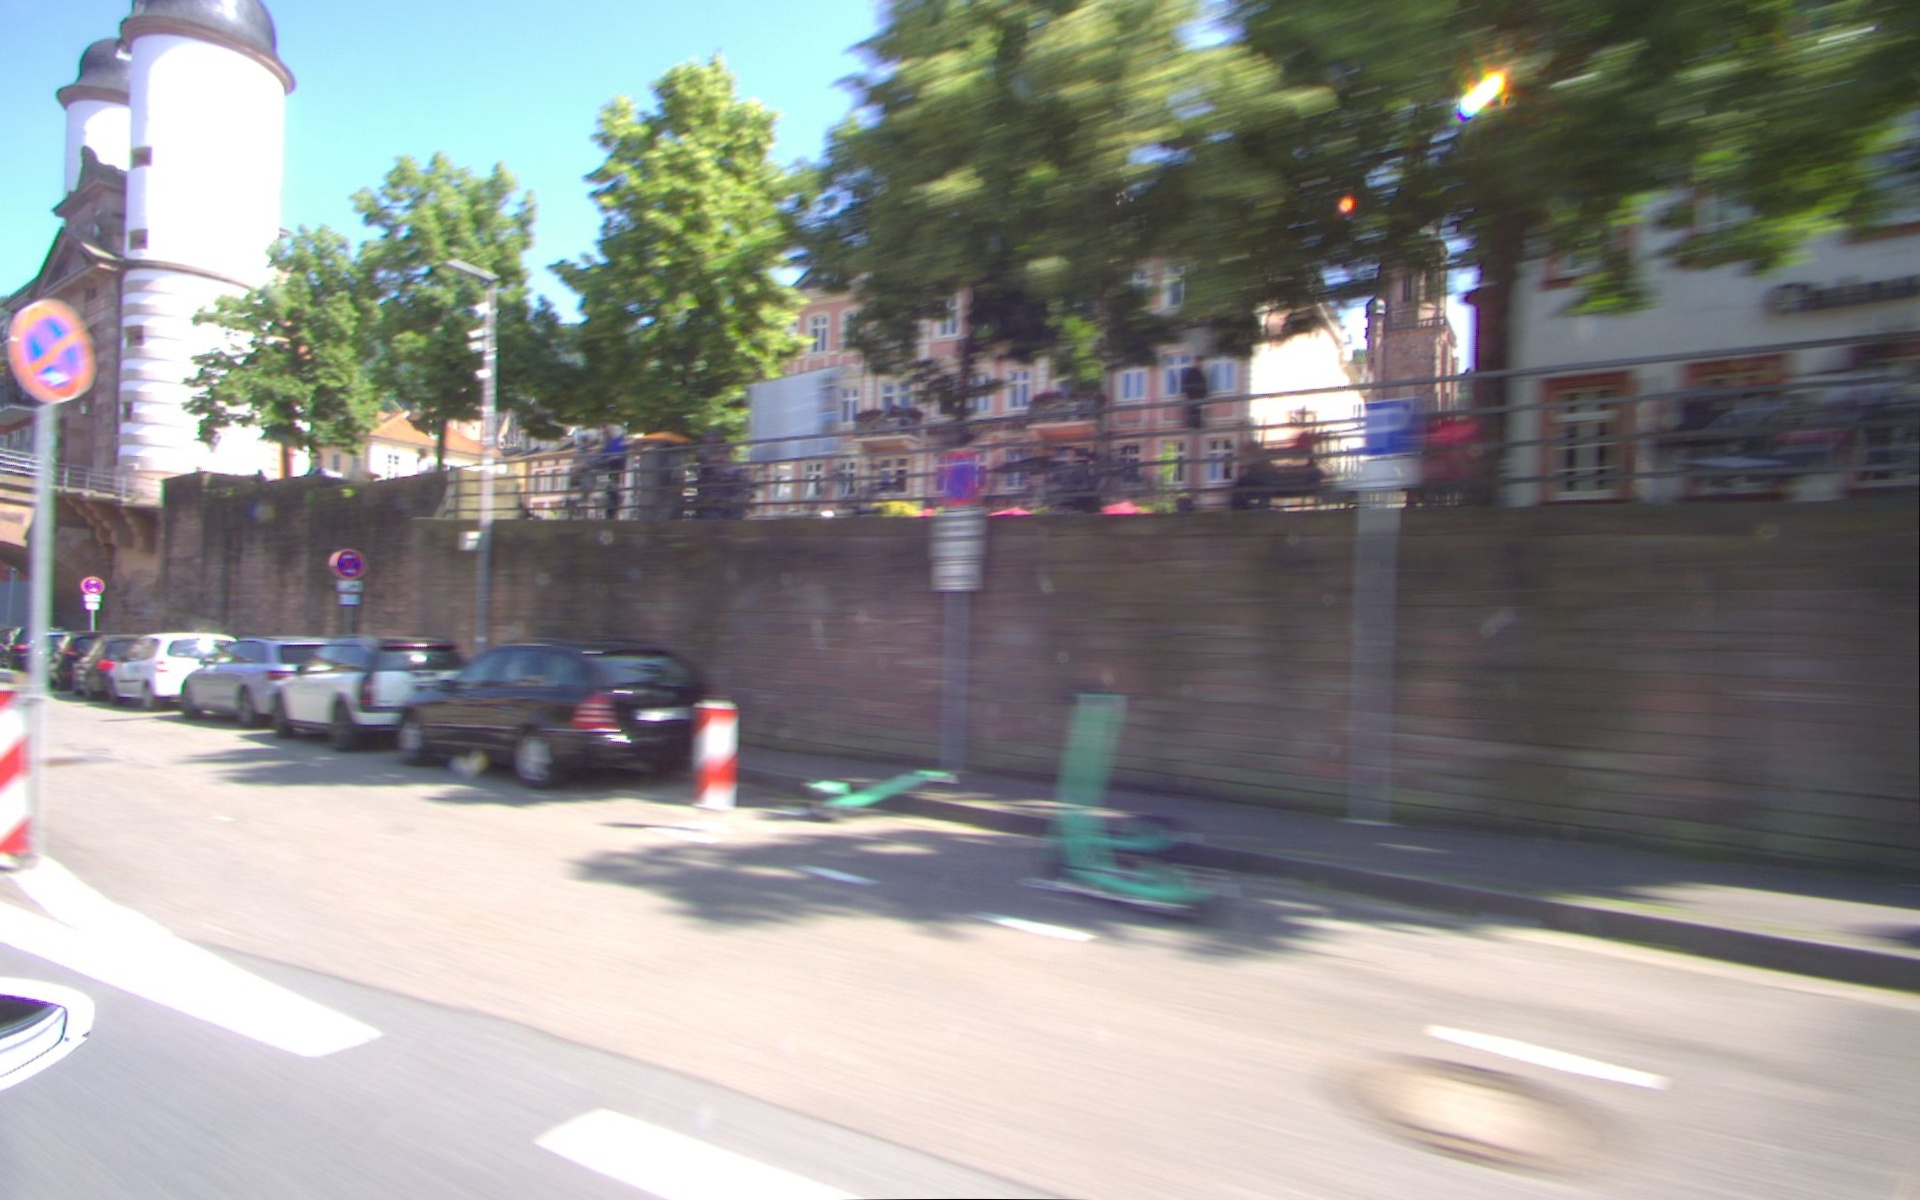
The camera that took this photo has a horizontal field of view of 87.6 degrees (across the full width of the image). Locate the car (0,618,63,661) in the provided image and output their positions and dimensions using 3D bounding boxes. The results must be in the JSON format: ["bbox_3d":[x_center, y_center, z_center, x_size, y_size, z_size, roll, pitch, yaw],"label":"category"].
[{"bbox_3d":[-34.687,1.435,36.787,4.434,1.455,1.770,0,-2,37],"label":"car"}]

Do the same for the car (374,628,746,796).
[{"bbox_3d":[-4.562,1.083,11.118,4.478,1.468,1.837,-1,-2,38],"label":"car"}]

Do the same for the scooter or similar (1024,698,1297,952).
[{"bbox_3d":[1.052,1.141,5.478,0.528,1.103,1.425,1,-1,-43],"label":"scooter or similar"}]

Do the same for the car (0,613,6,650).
[{"bbox_3d":[-42.349,1.291,42.605,4.360,1.512,1.887,1,-1,38],"label":"car"}]

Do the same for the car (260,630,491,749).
[{"bbox_3d":[-8.340,1.168,14.161,3.857,1.431,1.605,-1,-2,40],"label":"car"}]

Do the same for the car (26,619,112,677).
[{"bbox_3d":[-26.027,1.367,29.215,3.862,1.540,1.582,0,-2,45],"label":"car"}]

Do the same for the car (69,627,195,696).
[{"bbox_3d":[-19.004,1.333,22.907,4.360,1.406,1.701,-1,-1,43],"label":"car"}]

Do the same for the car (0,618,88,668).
[{"bbox_3d":[-30.697,1.396,33.505,3.940,1.522,1.767,0,-1,41],"label":"car"}]

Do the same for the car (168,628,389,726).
[{"bbox_3d":[-11.881,1.246,17.349,4.695,1.450,1.748,0,-2,37],"label":"car"}]

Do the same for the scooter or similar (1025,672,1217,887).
[{"bbox_3d":[1.054,1.138,6.764,0.527,1.246,1.261,1,-1,-38],"label":"scooter or similar"}]

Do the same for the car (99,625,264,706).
[{"bbox_3d":[-15.839,1.283,20.336,3.500,1.476,1.706,0,-2,36],"label":"car"}]

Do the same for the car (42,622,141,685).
[{"bbox_3d":[-22.570,1.349,25.991,3.674,1.503,1.488,0,-2,42],"label":"car"}]
